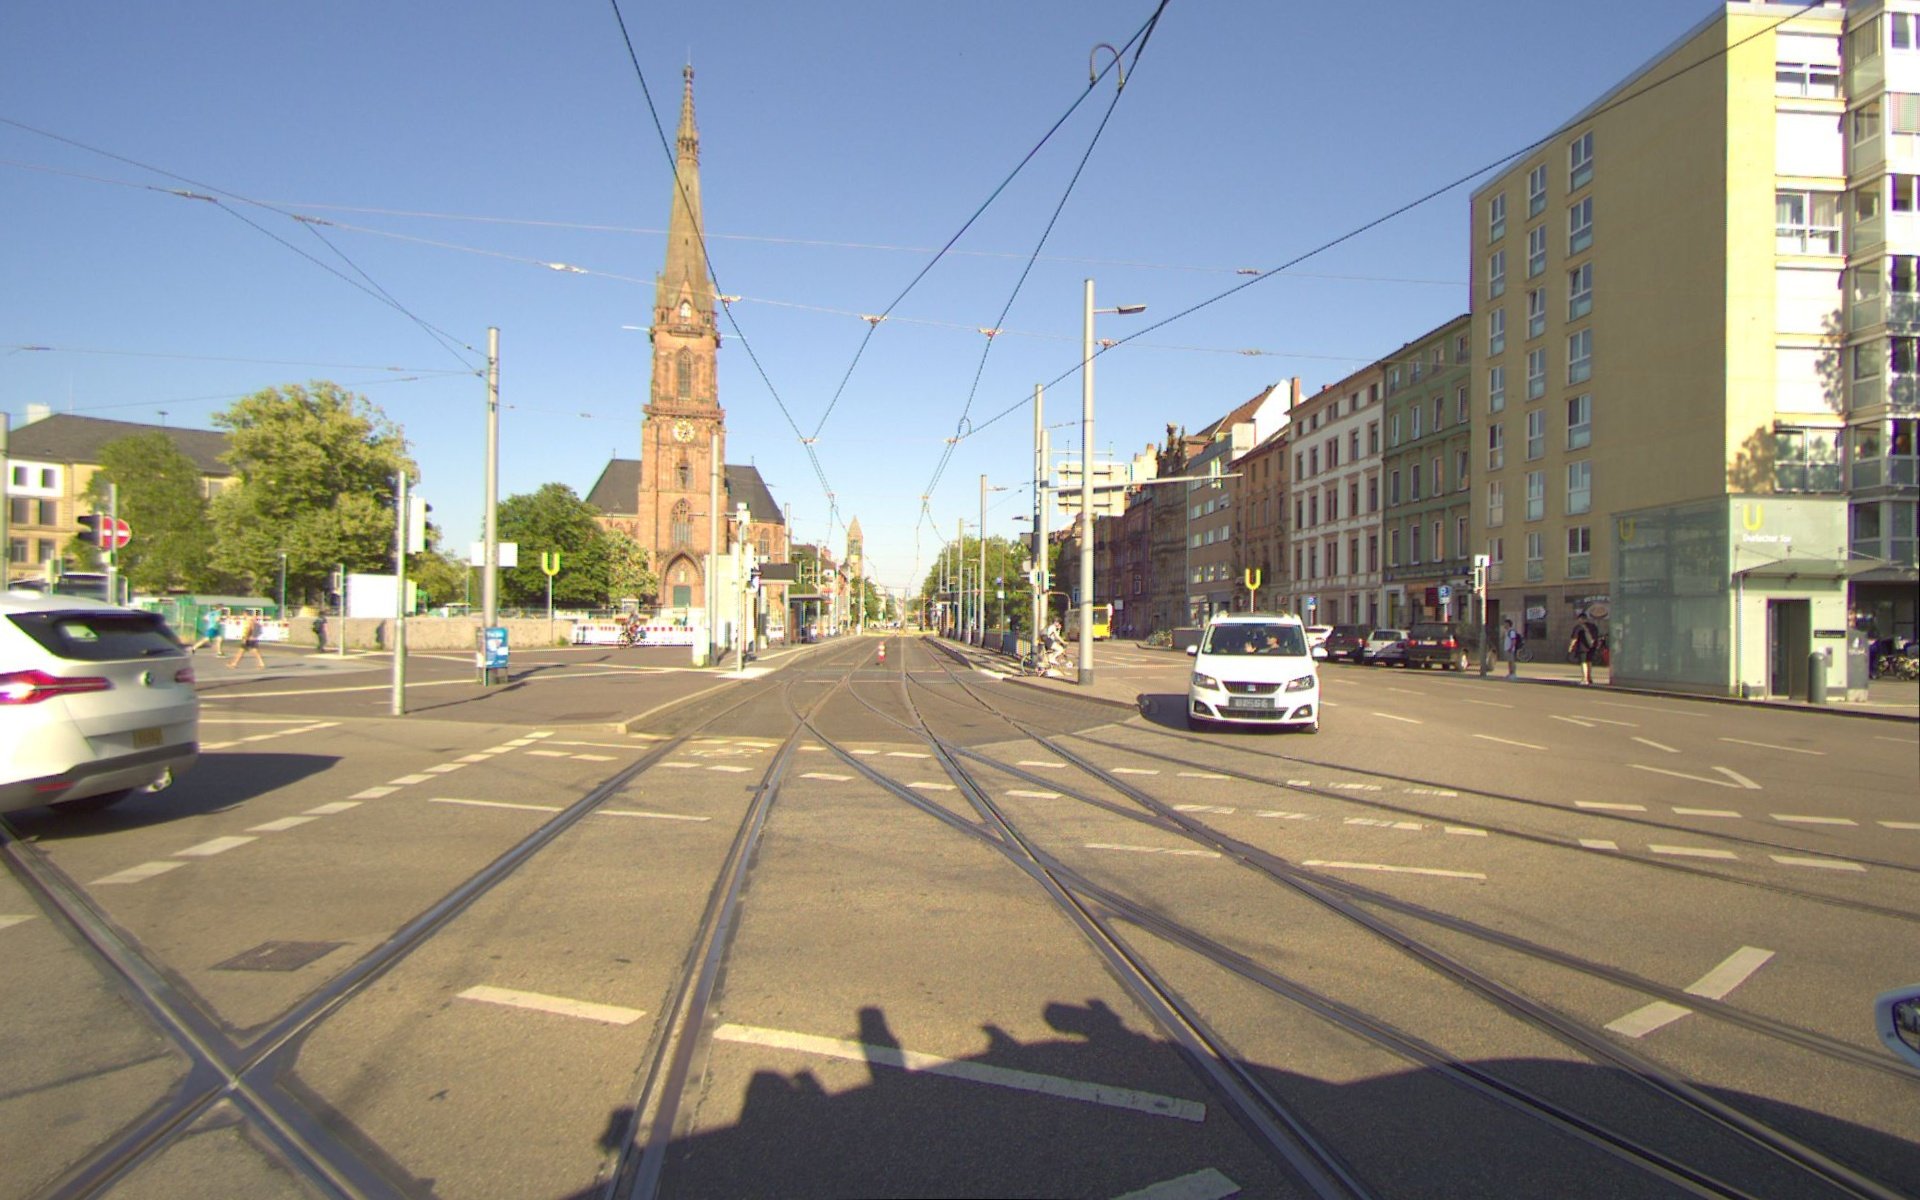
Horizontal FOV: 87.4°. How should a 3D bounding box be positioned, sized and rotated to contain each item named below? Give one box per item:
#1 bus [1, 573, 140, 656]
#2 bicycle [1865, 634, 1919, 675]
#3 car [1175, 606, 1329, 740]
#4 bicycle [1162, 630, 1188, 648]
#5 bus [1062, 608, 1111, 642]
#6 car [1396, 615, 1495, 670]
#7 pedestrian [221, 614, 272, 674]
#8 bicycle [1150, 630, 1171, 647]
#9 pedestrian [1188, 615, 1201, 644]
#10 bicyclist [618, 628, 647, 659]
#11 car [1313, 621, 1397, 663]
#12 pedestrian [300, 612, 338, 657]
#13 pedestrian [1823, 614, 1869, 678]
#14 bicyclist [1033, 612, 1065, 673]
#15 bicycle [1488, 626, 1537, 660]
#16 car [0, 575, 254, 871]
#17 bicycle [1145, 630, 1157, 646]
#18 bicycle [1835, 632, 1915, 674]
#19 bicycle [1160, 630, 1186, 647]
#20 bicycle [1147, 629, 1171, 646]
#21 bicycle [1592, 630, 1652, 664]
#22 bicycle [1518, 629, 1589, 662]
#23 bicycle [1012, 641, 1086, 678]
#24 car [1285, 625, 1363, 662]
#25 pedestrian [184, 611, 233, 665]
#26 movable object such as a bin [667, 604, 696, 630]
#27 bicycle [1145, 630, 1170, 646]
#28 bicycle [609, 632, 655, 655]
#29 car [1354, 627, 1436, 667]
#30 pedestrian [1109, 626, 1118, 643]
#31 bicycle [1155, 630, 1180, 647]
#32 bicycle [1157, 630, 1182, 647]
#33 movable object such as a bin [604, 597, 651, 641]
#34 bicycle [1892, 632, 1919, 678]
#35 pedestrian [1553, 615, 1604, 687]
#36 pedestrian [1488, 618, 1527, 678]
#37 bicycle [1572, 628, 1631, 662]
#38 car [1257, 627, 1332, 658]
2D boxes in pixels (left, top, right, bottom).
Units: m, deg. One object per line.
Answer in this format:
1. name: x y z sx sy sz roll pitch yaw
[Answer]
1. bus: -39.287 0.477 44.147 12.471 3.237 2.827 1 2 41
2. bicycle: 29.504 1.698 31.345 1.962 1.216 0.814 -1 -1 -9
3. car: 4.675 1.032 15.619 1.904 1.756 4.464 -2 -2 21
4. bicycle: 15.445 2.799 72.279 1.737 1.194 0.470 1 0 -4
5. bus: 12.582 2.534 101.140 2.671 3.223 12.536 0 -1 -3
6. car: 17.587 1.553 36.274 1.934 1.838 4.224 1 -2 45
7. pedestrian: -20.884 1.272 29.422 1.040 1.709 0.725 -1 2 -21
8. bicycle: 14.338 2.771 71.947 0.464 1.162 1.759 1 -1 -26
9. pedestrian: 17.114 2.161 73.358 0.738 2.041 0.697 0 2 -3
10. bicyclist: -15.375 2.032 47.194 0.801 1.362 0.901 3 -3 29
11. car: 16.871 1.797 42.806 1.933 1.619 4.227 1 -2 43
12. pedestrian: -25.763 1.377 40.374 0.715 1.709 1.055 0 2 25
13. pedestrian: 24.451 1.264 27.737 0.738 1.750 0.698 0 -1 18
14. bicyclist: 2.441 1.164 27.617 0.664 1.637 0.814 -1 -1 -8
15. bicycle: 24.557 1.881 44.688 0.914 1.375 2.228 0 1 0
16. car: -7.730 0.749 6.668 4.539 1.769 1.939 0 -2 -10
17. bicycle: 14.179 2.808 74.657 0.461 1.162 1.770 1 -1 -3
18. bicycle: 29.392 1.691 32.274 1.962 1.265 0.814 -1 -1 -9
19. bicycle: 15.419 2.790 72.781 1.737 1.194 0.470 1 0 -4
20. bicycle: 15.120 2.856 76.292 1.763 1.203 0.470 1 0 -4
21. bicycle: 25.748 1.807 39.113 0.647 1.265 2.297 -1 -2 -5
22. bicycle: 24.717 1.866 41.892 0.969 1.280 3.060 1 -1 -4
23. bicycle: 2.435 1.625 27.600 1.860 0.954 0.814 -1 -1 -9
24. car: 16.820 1.999 46.295 1.932 1.591 4.228 1 -2 42
25. pedestrian: -25.788 1.280 34.494 0.789 1.792 1.179 0 2 -4
26. movable object such as a bin: -19.188 1.146 69.186 1.154 1.608 3.862 0 1 -4
27. bicycle: 15.095 2.909 76.794 1.737 1.203 0.470 1 0 -4
28. bicycle: -15.380 2.032 47.191 0.801 0.954 2.000 3 -3 29
29. car: 17.046 1.850 39.254 1.763 1.418 3.872 1 -3 42
30. pedestrian: 18.281 4.100 119.384 0.809 1.955 1.136 0 -1 -4
31. bicycle: 15.320 2.828 74.282 1.737 1.203 0.470 1 0 -4
32. bicycle: 15.364 2.806 73.777 1.737 1.203 0.470 1 0 -4
33. movable object such as a bin: -21.292 1.145 64.205 2.596 2.560 5.144 -1 1 -21
34. bicycle: 29.467 1.647 30.370 1.962 1.363 0.814 -1 -1 -9
35. pedestrian: 15.374 1.243 24.979 0.787 1.750 0.861 1 -1 -35
36. pedestrian: 16.197 1.400 29.722 0.687 1.750 0.750 1 -1 -20
37. bicycle: 24.950 1.720 39.111 0.647 1.265 2.297 -1 -2 -5
38. car: 16.680 2.106 49.954 1.936 1.483 4.087 -1 -2 45
